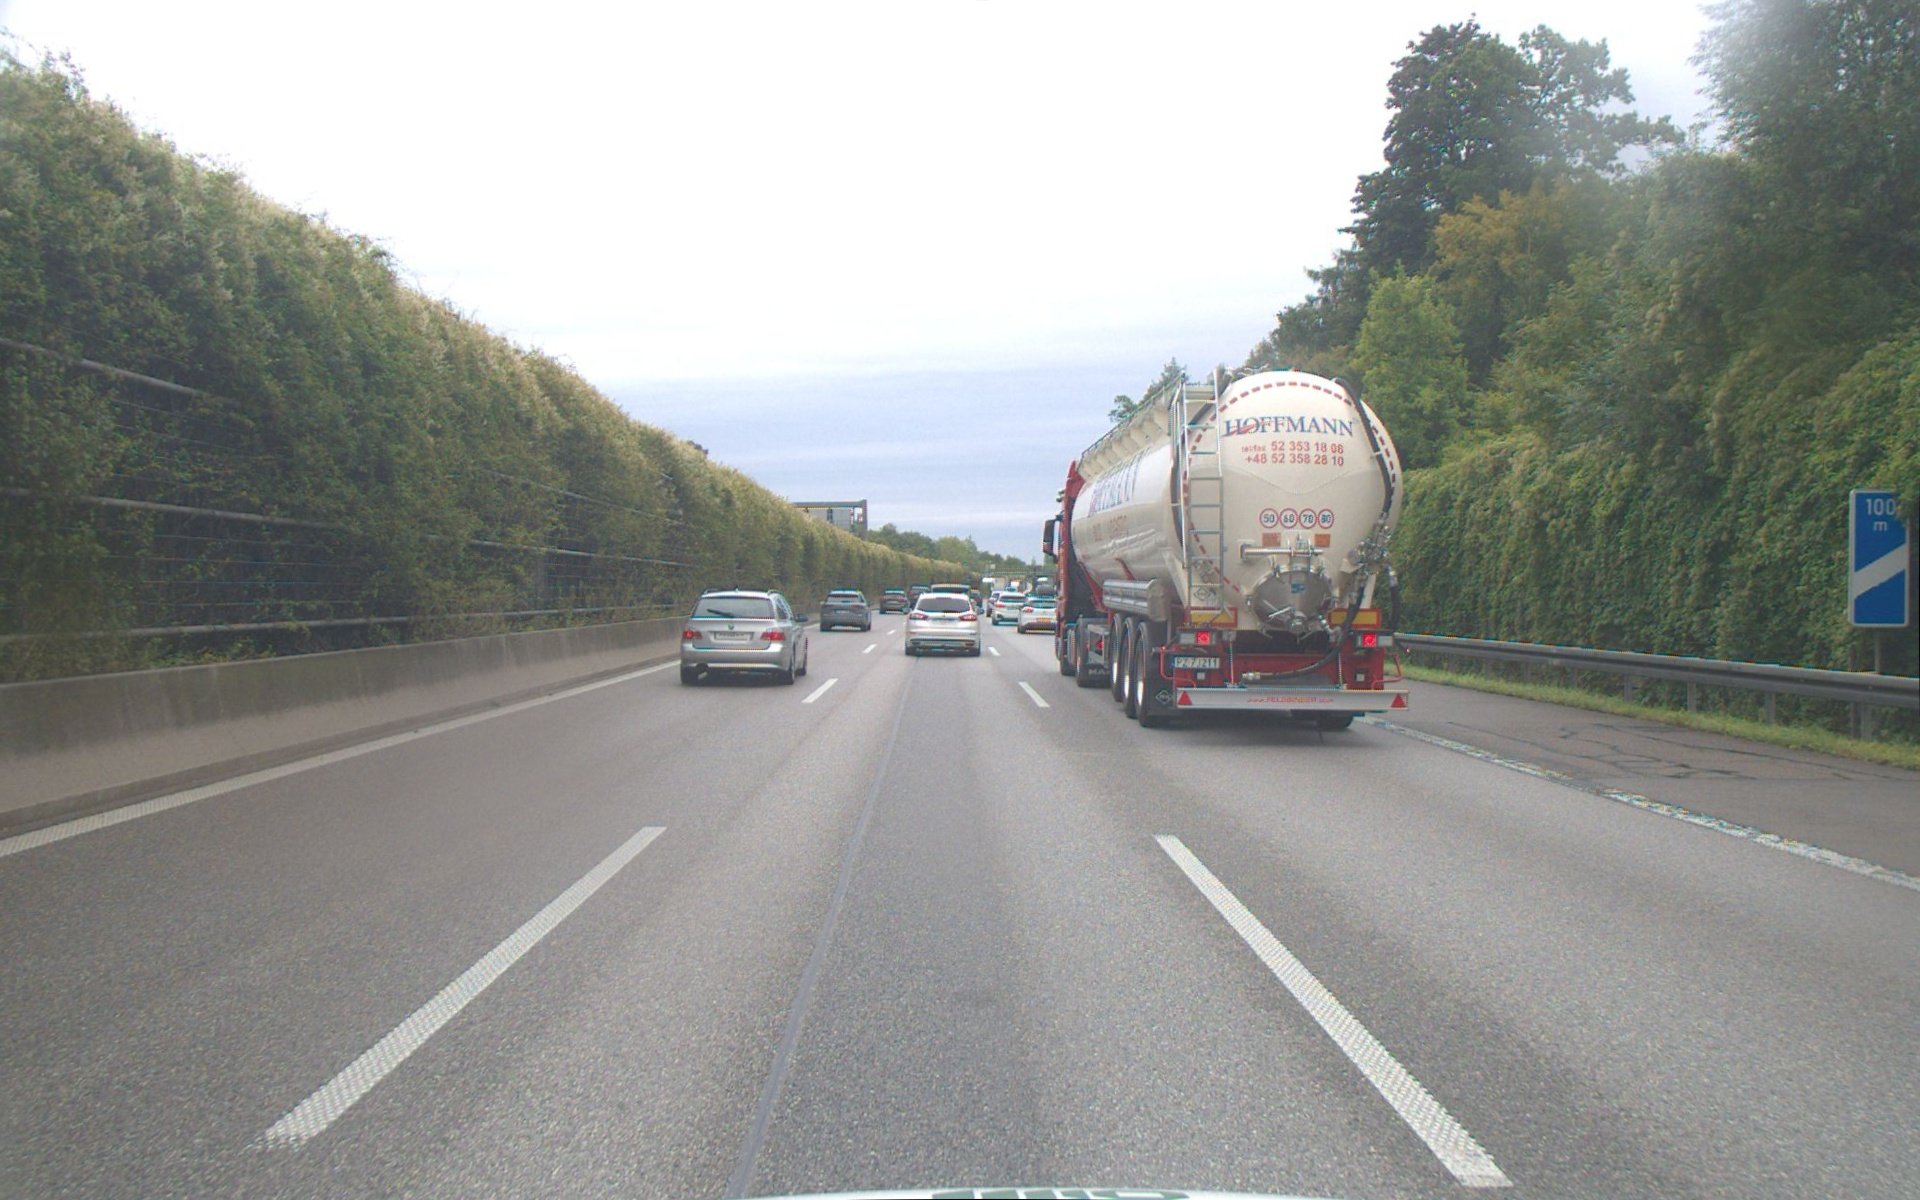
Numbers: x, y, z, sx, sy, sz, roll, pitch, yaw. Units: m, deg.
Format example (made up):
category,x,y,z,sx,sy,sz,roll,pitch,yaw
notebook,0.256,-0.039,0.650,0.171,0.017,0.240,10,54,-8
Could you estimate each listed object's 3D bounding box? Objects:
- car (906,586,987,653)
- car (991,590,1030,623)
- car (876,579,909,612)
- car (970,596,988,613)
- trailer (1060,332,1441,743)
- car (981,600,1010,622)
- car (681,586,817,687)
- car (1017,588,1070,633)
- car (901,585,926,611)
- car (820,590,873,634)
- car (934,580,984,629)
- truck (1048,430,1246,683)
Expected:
category,x,y,z,sx,sy,sz,roll,pitch,yaw
car,-0.363,0.446,40.752,1.853,1.530,5.029,1,0,-1
car,2.409,0.305,79.965,1.654,1.533,3.870,1,0,-1
car,-4.218,-0.287,104.383,1.953,2.049,3.840,1,0,-1
car,1.777,0.435,155.906,1.654,1.566,3.871,1,1,-1
trailer,3.271,-0.604,22.865,2.614,4.008,13.126,1,0,-1
car,2.238,0.694,105.435,1.654,1.354,3.870,1,0,-1
car,-3.454,0.535,27.847,1.685,1.494,5.029,1,1,-1
car,3.210,0.386,64.414,1.779,1.654,5.030,1,0,0
car,-3.802,-0.183,135.162,1.953,2.049,3.999,1,0,-1
car,-4.174,0.428,61.456,1.685,1.538,5.029,1,0,-1
car,-0.051,0.123,60.112,1.655,1.532,3.872,5,2,0
truck,3.145,-0.685,29.548,2.640,3.981,6.554,1,0,-1
